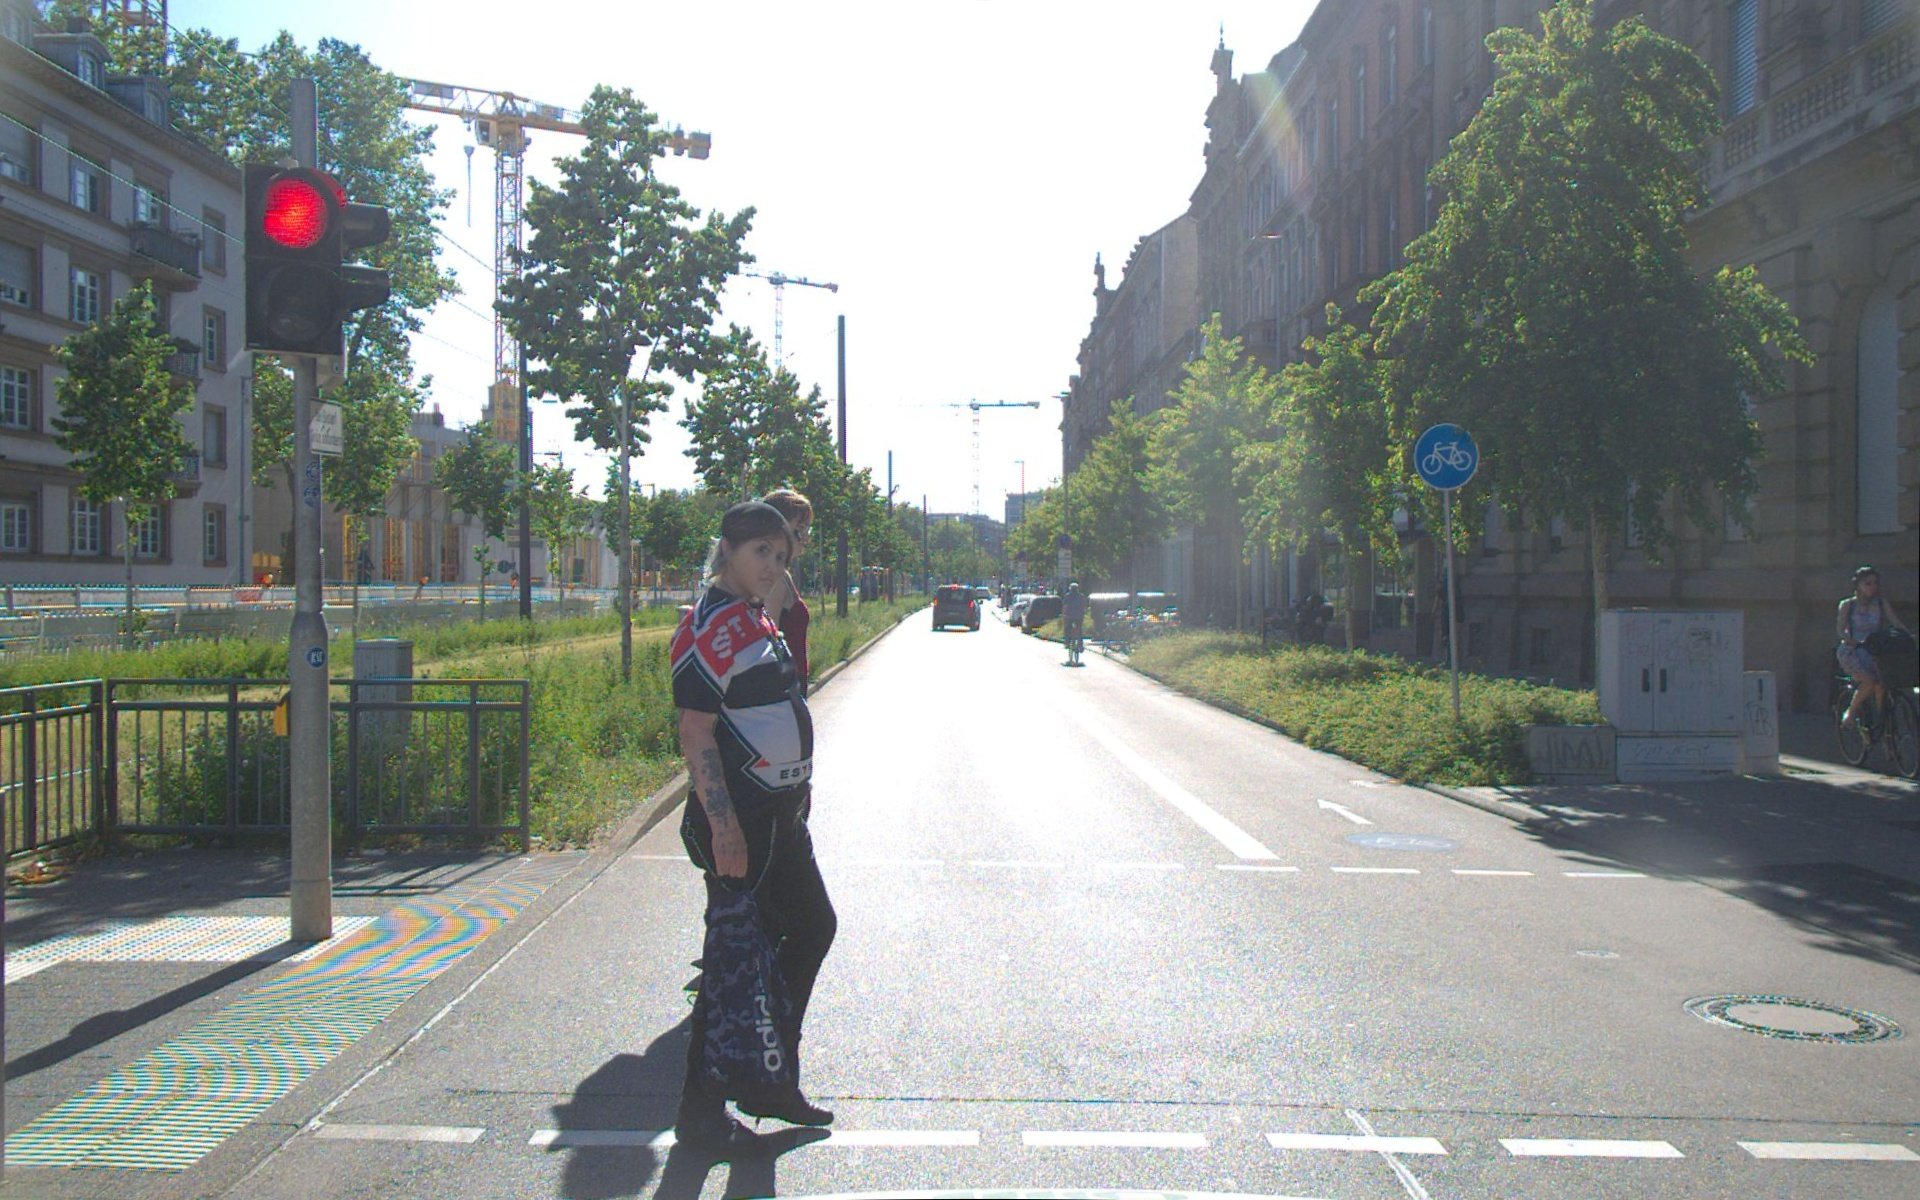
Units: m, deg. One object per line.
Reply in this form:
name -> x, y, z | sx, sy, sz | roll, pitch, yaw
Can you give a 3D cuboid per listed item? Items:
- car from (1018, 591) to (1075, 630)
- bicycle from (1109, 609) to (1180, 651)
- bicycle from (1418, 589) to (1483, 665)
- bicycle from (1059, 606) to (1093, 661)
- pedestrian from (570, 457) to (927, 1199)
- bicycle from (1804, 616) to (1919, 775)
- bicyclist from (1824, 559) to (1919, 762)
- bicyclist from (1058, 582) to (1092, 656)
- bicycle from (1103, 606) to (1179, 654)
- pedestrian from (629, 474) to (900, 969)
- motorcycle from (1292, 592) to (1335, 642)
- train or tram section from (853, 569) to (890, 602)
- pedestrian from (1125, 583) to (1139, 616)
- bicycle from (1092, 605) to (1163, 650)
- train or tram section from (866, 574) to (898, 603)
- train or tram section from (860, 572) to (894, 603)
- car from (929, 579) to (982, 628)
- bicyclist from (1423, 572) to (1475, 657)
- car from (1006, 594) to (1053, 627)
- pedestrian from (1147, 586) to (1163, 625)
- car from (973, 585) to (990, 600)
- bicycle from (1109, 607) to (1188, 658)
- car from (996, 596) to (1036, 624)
car -> 3.485, 0.403, 67.440 | 1.987, 1.525, 4.653 | 0, 0, -1
bicycle -> 4.745, 0.773, 42.513 | 1.756, 1.048, 0.527 | 0, 0, -1
bicycle -> 9.326, 0.499, 31.528 | 0.603, 1.353, 1.900 | -4, 0, 1
bicycle -> 2.693, 0.766, 38.631 | 0.589, 1.201, 1.869 | 2, 0, -1
pedestrian -> -0.571, 0.565, 4.552 | 0.848, 1.819, 0.969 | 1, 0, -7
bicycle -> 7.920, 0.783, 14.269 | 0.571, 1.244, 1.901 | 0, 0, 9
bicyclist -> 7.895, 0.495, 14.114 | 0.652, 1.668, 0.961 | 0, 0, 9
bicyclist -> 2.689, 0.437, 38.830 | 0.670, 1.702, 0.922 | 2, 0, -2
bicycle -> 4.480, 0.739, 40.987 | 1.756, 1.048, 0.527 | -4, 0, -1
pedestrian -> -0.809, 0.472, 6.889 | 1.055, 1.942, 0.652 | 0, 0, -7
motorcycle -> 9.456, 0.447, 44.287 | 0.686, 1.289, 1.981 | 0, 0, -1
train or tram section -> -7.892, -1.224, 148.848 | 2.700, 2.790, 9.863 | 1, 0, 0
pedestrian -> 8.654, -0.022, 83.356 | 0.601, 1.640, 0.669 | 0, 0, -1
bicycle -> 4.444, 0.725, 44.013 | 1.756, 1.048, 0.527 | -4, 0, -1
train or tram section -> -7.882, -1.123, 168.518 | 2.700, 2.790, 9.863 | 1, 0, 0
train or tram section -> -7.896, -1.174, 158.695 | 2.700, 2.790, 9.863 | 1, 0, 0
car -> -0.217, 0.125, 69.050 | 2.155, 1.960, 4.653 | 0, 0, -1
bicyclist -> 9.297, 0.265, 31.465 | 0.647, 1.556, 0.801 | -4, 0, 0
car -> 3.342, 0.499, 79.808 | 1.987, 1.525, 4.529 | 0, 0, -1
pedestrian -> 8.347, 0.223, 70.952 | 0.601, 1.640, 0.669 | 0, 0, -1
car -> 2.580, -0.889, 200.479 | 1.953, 1.759, 3.999 | 1, 0, -1
bicycle -> 4.508, 0.776, 39.549 | 1.756, 1.048, 0.527 | -4, 0, -1
car -> 3.096, 0.541, 92.332 | 1.987, 1.525, 4.529 | 0, 0, -1
